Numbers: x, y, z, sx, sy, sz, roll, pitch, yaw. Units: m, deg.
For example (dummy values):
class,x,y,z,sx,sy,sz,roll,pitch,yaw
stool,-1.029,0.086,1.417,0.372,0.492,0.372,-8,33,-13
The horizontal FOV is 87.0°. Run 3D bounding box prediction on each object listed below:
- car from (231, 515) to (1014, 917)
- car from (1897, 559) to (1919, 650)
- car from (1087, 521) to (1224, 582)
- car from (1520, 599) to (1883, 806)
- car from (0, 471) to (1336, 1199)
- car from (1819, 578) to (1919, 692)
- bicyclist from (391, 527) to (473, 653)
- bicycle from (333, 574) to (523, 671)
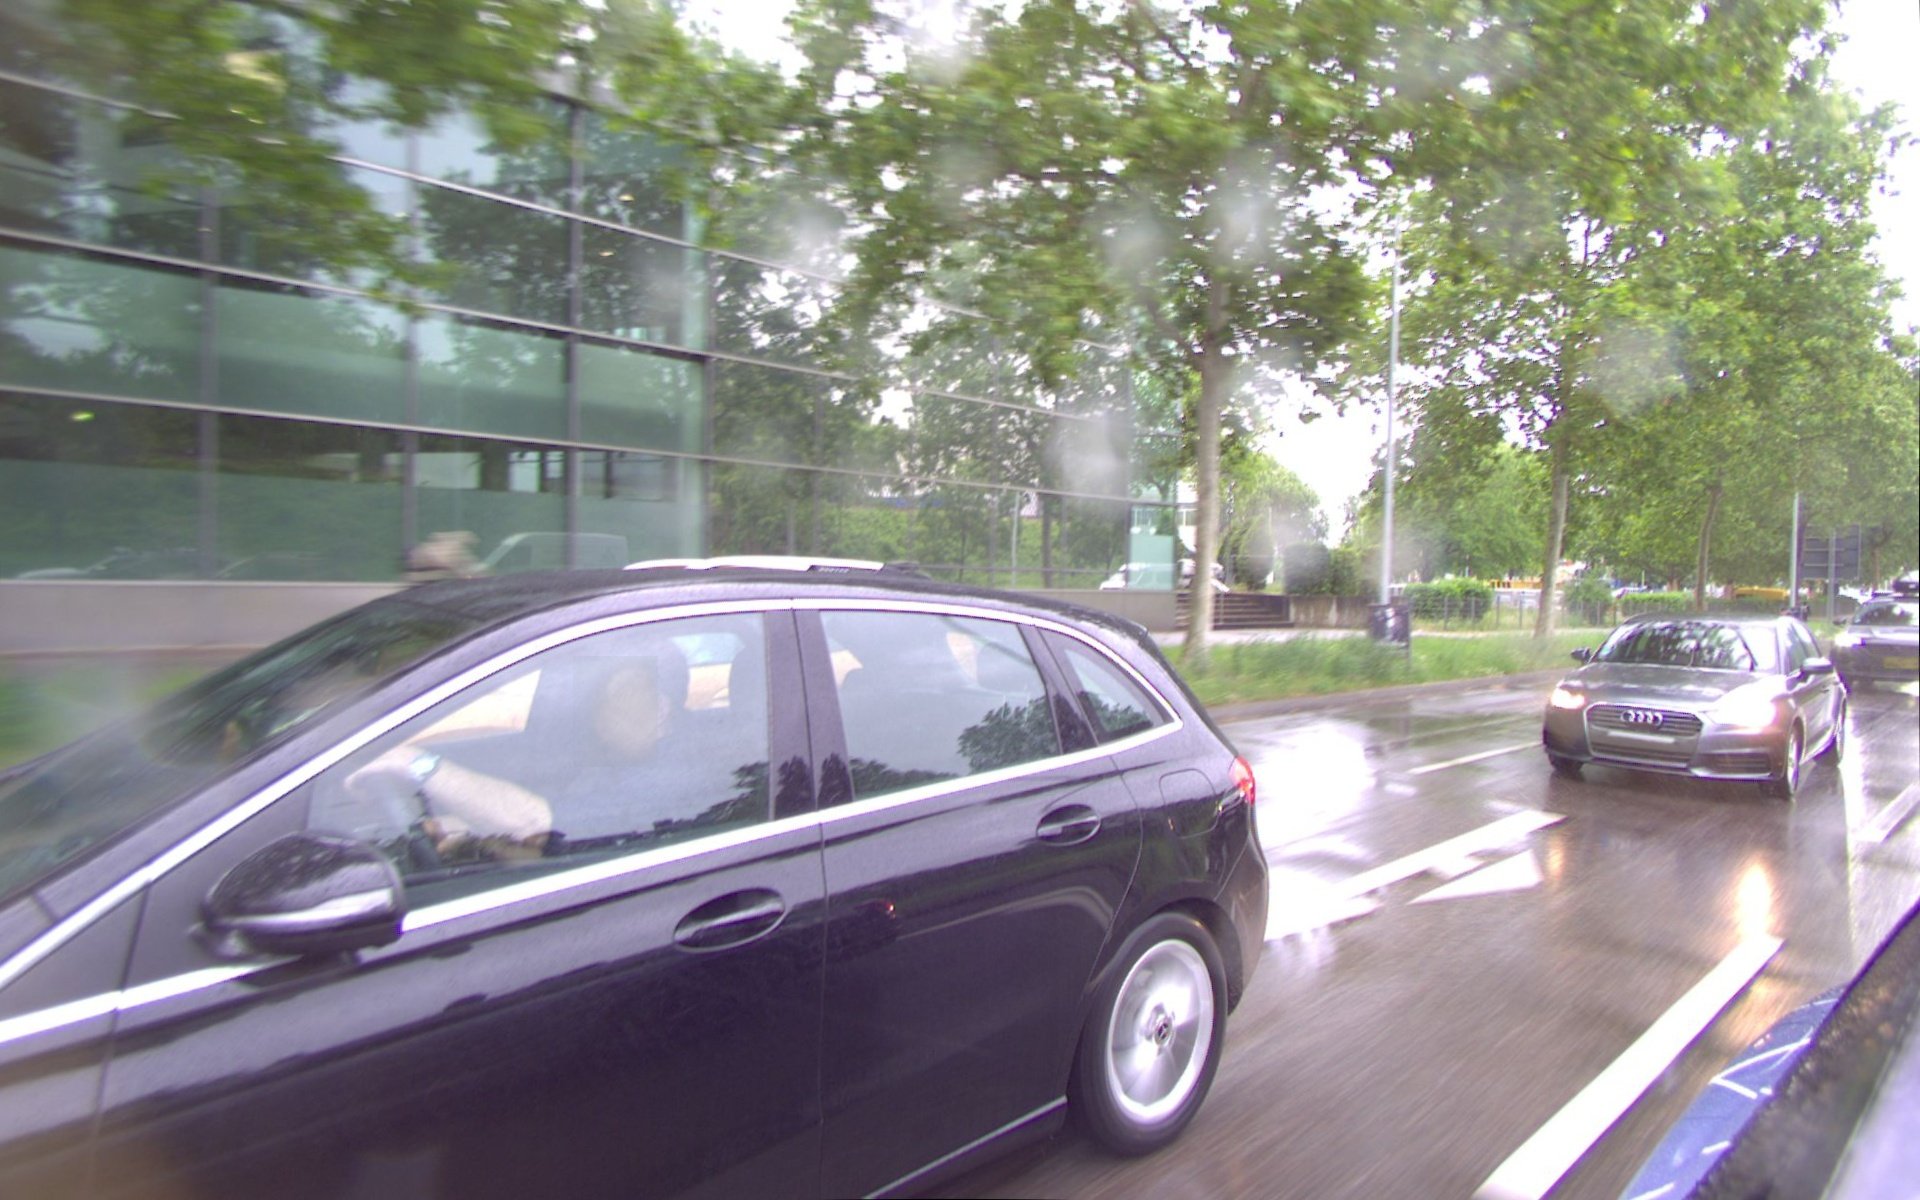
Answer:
class,x,y,z,sx,sy,sz,roll,pitch,yaw
car,-1.855,0.454,6.184,4.094,1.652,1.905,1,2,-39
car,28.157,0.146,28.532,4.891,2.460,1.997,0,2,-41
car,8.274,-2.012,42.945,5.610,2.487,1.992,0,0,13
car,6.663,0.713,8.968,3.688,1.416,1.839,0,0,-41
car,-1.053,0.590,2.401,4.014,1.542,1.875,0,2,-40
car,16.602,0.550,17.511,4.252,1.769,1.997,0,2,-41
bicyclist,-6.825,-0.150,13.076,0.740,1.533,0.806,-1,5,-43
bicycle,-6.837,0.255,13.080,2.042,1.118,0.744,0,4,-43
